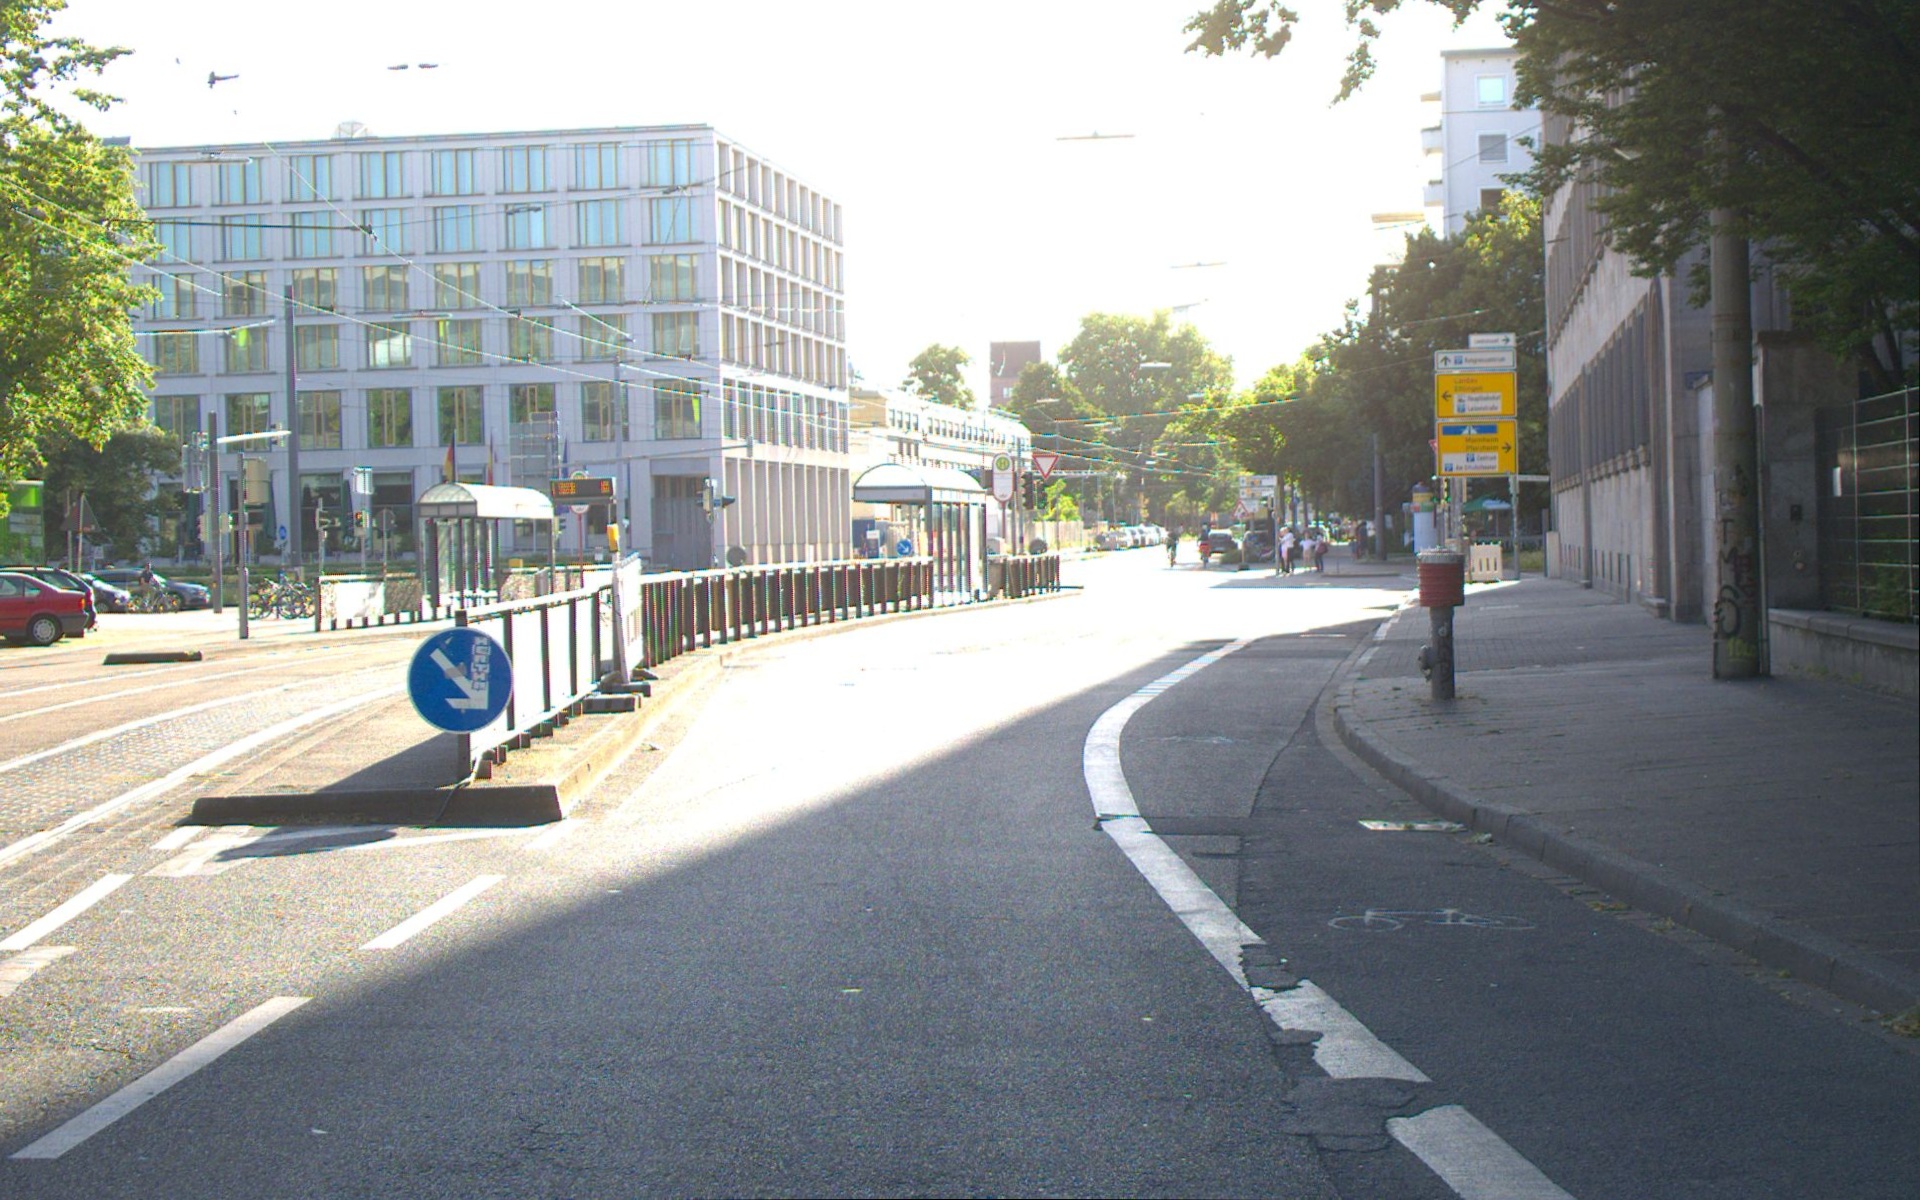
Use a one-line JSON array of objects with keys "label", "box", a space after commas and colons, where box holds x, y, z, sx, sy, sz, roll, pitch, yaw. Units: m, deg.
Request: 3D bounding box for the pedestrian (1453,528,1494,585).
[{"label": "pedestrian", "box": [15.781, -1.324, 105.642, 1.039, 1.715, 1.035, -2, 1, -3]}]

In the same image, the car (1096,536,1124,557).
[{"label": "car", "box": [10.941, -3.914, 251.134, 1.610, 1.493, 3.804, -1, 1, 8]}]

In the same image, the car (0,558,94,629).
[{"label": "car", "box": [-21.788, -0.146, 76.871, 4.500, 1.564, 1.590, 0, 0, -24]}]

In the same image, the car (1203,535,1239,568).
[{"label": "car", "box": [14.248, -2.637, 187.558, 1.685, 1.731, 3.507, 1, 0, 8]}]

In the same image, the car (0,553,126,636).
[{"label": "car", "box": [-19.118, -0.116, 68.723, 4.502, 1.636, 1.590, 0, 0, -37]}]

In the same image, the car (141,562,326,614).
[{"label": "car", "box": [-19.007, -0.306, 89.954, 4.500, 1.346, 1.590, 0, 0, -24]}]

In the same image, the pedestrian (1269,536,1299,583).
[{"label": "pedestrian", "box": [12.612, -1.572, 133.710, 0.966, 1.778, 0.780, -2, 1, -8]}]

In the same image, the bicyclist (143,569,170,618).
[{"label": "bicyclist", "box": [-26.318, -0.207, 112.652, 0.618, 1.577, 0.594, -1, 1, 13]}]

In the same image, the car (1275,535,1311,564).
[{"label": "car", "box": [17.470, -2.652, 180.160, 1.685, 1.495, 3.507, 1, 0, 8]}]

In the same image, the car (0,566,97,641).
[{"label": "car", "box": [-19.043, 0.067, 65.933, 4.500, 1.421, 1.873, 0, 0, -28]}]

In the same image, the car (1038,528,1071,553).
[{"label": "car", "box": [6.509, -4.090, 236.015, 1.820, 1.706, 3.804, -1, 1, 8]}]

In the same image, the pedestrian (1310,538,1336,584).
[{"label": "pedestrian", "box": [14.260, -1.531, 135.053, 0.847, 1.778, 0.780, -2, 1, -8]}]

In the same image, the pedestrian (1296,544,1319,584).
[{"label": "pedestrian", "box": [13.788, -1.414, 136.291, 0.762, 1.553, 0.588, -2, 1, -8]}]

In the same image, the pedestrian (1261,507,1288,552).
[{"label": "pedestrian", "box": [12.471, -2.799, 136.263, 0.847, 1.778, 0.780, -2, 1, -8]}]

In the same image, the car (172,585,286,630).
[{"label": "car", "box": [-25.259, 0.244, 118.846, 3.531, 1.501, 1.522, -1, 1, 6]}]

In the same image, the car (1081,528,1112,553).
[{"label": "car", "box": [9.836, -4.303, 247.324, 1.820, 1.706, 3.804, -1, 1, 8]}]

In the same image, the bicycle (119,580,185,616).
[{"label": "bicycle", "box": [-26.493, -0.081, 112.719, 1.924, 1.118, 0.790, -1, 1, 14]}]
